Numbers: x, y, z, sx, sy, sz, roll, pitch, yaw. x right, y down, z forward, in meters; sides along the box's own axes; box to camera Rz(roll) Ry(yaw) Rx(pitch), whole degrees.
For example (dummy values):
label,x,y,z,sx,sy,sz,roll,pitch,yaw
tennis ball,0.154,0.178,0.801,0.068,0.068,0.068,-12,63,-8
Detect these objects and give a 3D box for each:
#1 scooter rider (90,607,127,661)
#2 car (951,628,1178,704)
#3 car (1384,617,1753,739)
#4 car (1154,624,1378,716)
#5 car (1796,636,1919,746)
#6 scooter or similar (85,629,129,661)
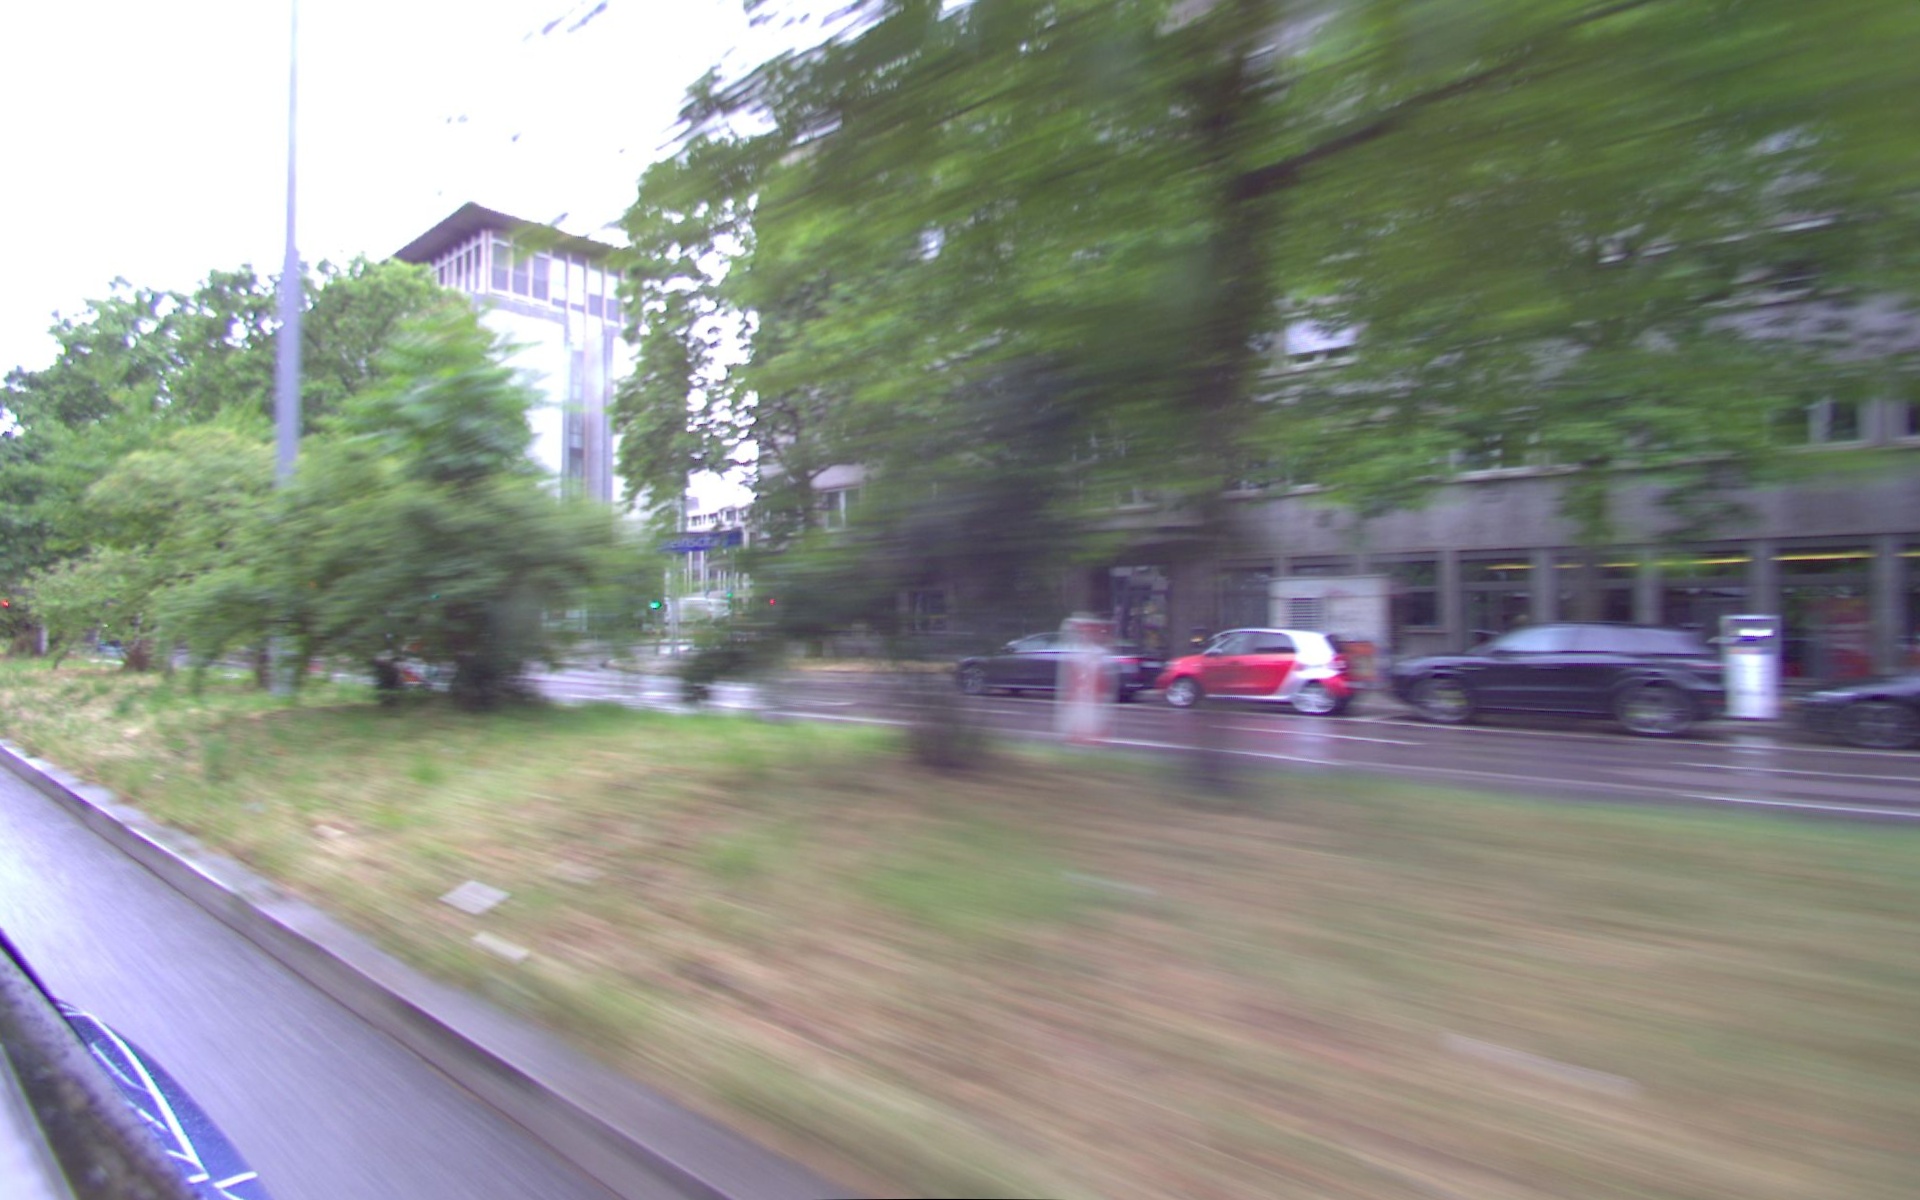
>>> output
label,x,y,z,sx,sy,sz,roll,pitch,yaw
scooter rider,-31.077,1.231,36.925,0.756,1.955,0.891,-1,-1,39
car,2.163,1.377,21.737,4.667,1.446,1.750,-1,-4,39
car,9.515,1.157,16.091,4.838,1.665,1.751,-1,-4,39
car,5.612,1.258,18.734,3.620,1.531,1.671,-1,-4,38
car,13.900,1.230,13.115,4.648,1.405,1.751,-1,-4,38
scooter or similar,-31.123,1.647,36.930,0.434,1.122,1.170,-1,-1,38
